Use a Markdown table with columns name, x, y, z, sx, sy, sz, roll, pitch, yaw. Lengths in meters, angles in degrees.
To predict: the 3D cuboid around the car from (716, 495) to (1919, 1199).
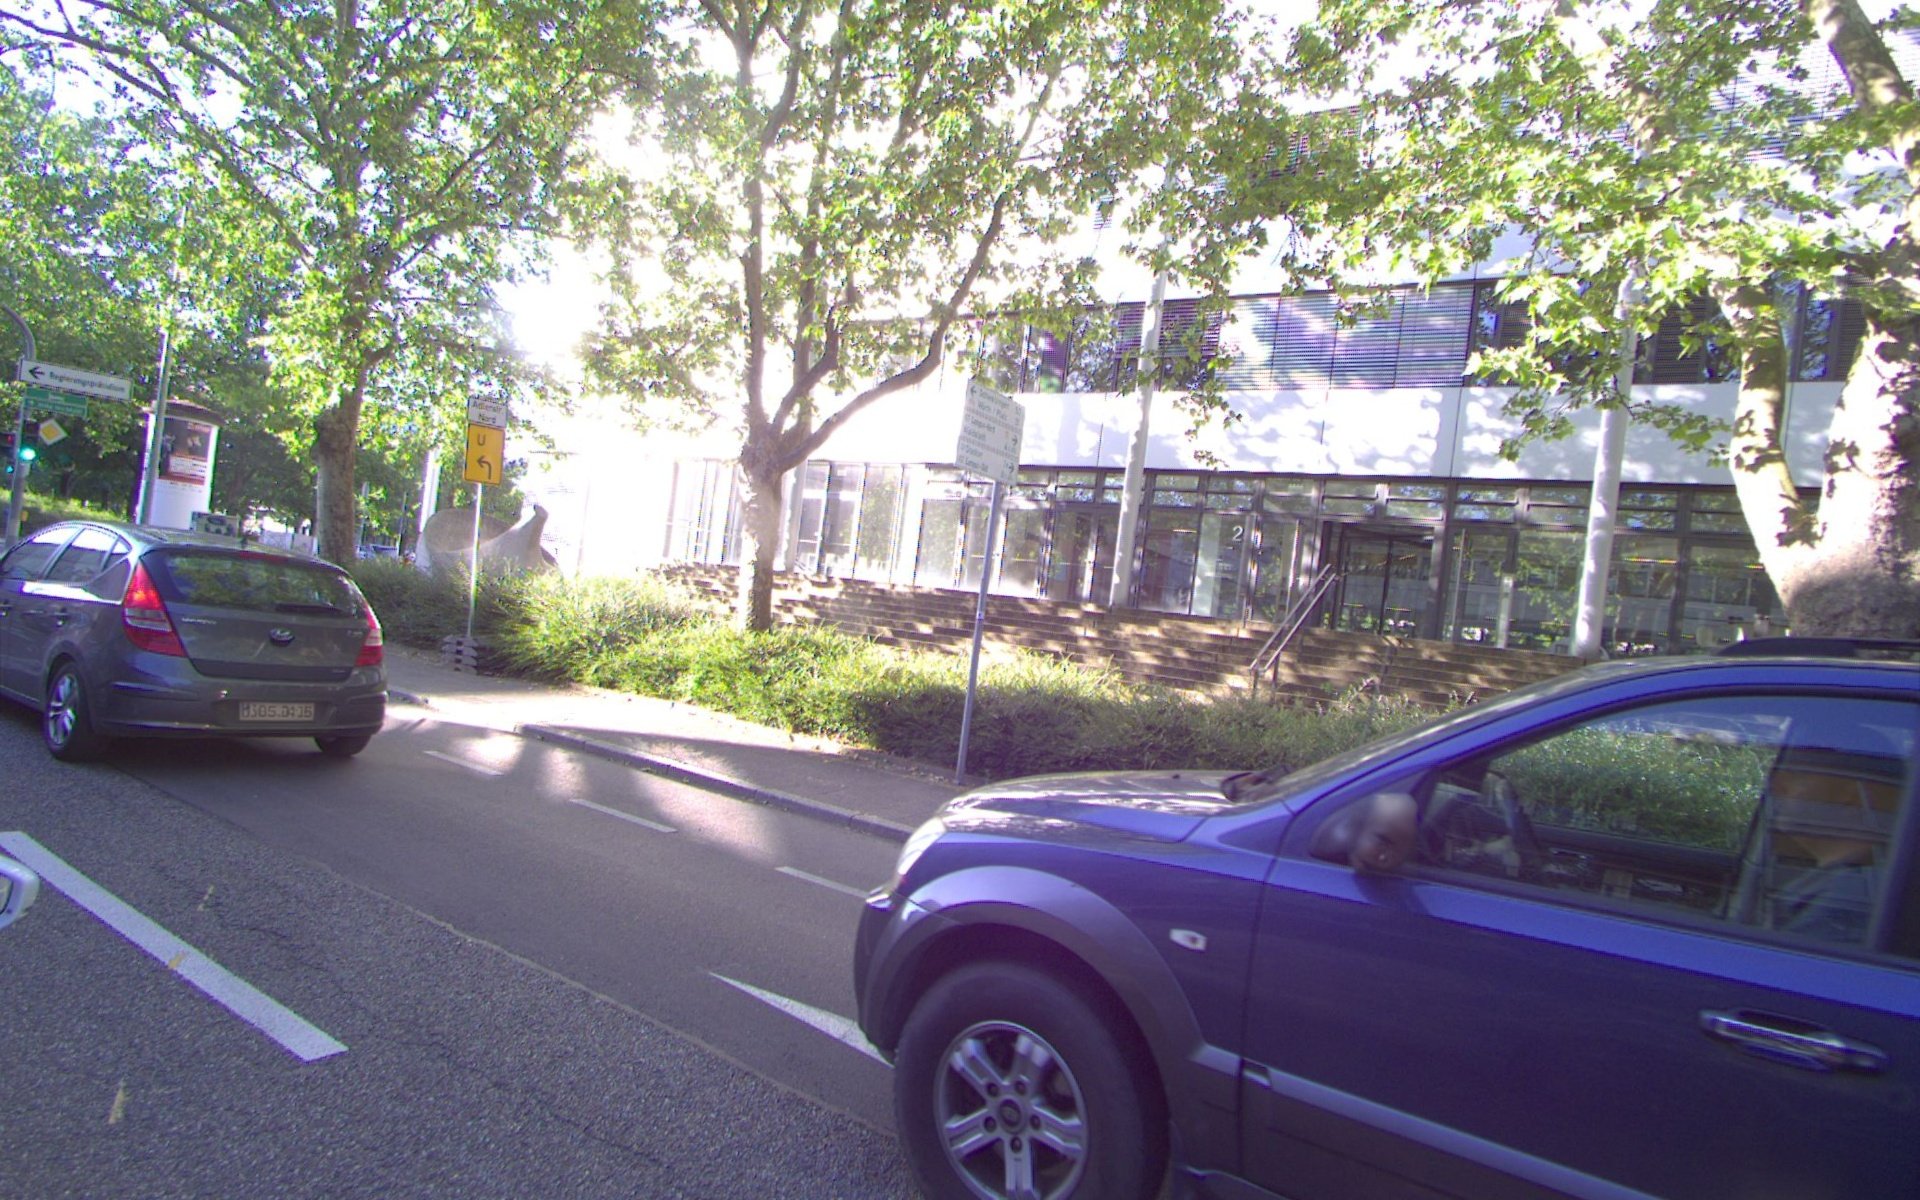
| name | x | y | z | sx | sy | sz | roll | pitch | yaw |
| --- | --- | --- | --- | --- | --- | --- | --- | --- | --- |
| car | 1.774 | 0.902 | 2.409 | 4.407 | 1.784 | 1.865 | 7 | -1 | 32 |

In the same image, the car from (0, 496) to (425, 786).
| name | x | y | z | sx | sy | sz | roll | pitch | yaw |
| --- | --- | --- | --- | --- | --- | --- | --- | --- | --- |
| car | -5.949 | 0.161 | 7.370 | 3.934 | 1.537 | 1.708 | 7 | -1 | 32 |

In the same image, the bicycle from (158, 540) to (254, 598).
| name | x | y | z | sx | sy | sz | roll | pitch | yaw |
| --- | --- | --- | --- | --- | --- | --- | --- | --- | --- |
| bicycle | -15.889 | -0.633 | 21.253 | 0.631 | 1.040 | 1.887 | 7 | -2 | -5 |
